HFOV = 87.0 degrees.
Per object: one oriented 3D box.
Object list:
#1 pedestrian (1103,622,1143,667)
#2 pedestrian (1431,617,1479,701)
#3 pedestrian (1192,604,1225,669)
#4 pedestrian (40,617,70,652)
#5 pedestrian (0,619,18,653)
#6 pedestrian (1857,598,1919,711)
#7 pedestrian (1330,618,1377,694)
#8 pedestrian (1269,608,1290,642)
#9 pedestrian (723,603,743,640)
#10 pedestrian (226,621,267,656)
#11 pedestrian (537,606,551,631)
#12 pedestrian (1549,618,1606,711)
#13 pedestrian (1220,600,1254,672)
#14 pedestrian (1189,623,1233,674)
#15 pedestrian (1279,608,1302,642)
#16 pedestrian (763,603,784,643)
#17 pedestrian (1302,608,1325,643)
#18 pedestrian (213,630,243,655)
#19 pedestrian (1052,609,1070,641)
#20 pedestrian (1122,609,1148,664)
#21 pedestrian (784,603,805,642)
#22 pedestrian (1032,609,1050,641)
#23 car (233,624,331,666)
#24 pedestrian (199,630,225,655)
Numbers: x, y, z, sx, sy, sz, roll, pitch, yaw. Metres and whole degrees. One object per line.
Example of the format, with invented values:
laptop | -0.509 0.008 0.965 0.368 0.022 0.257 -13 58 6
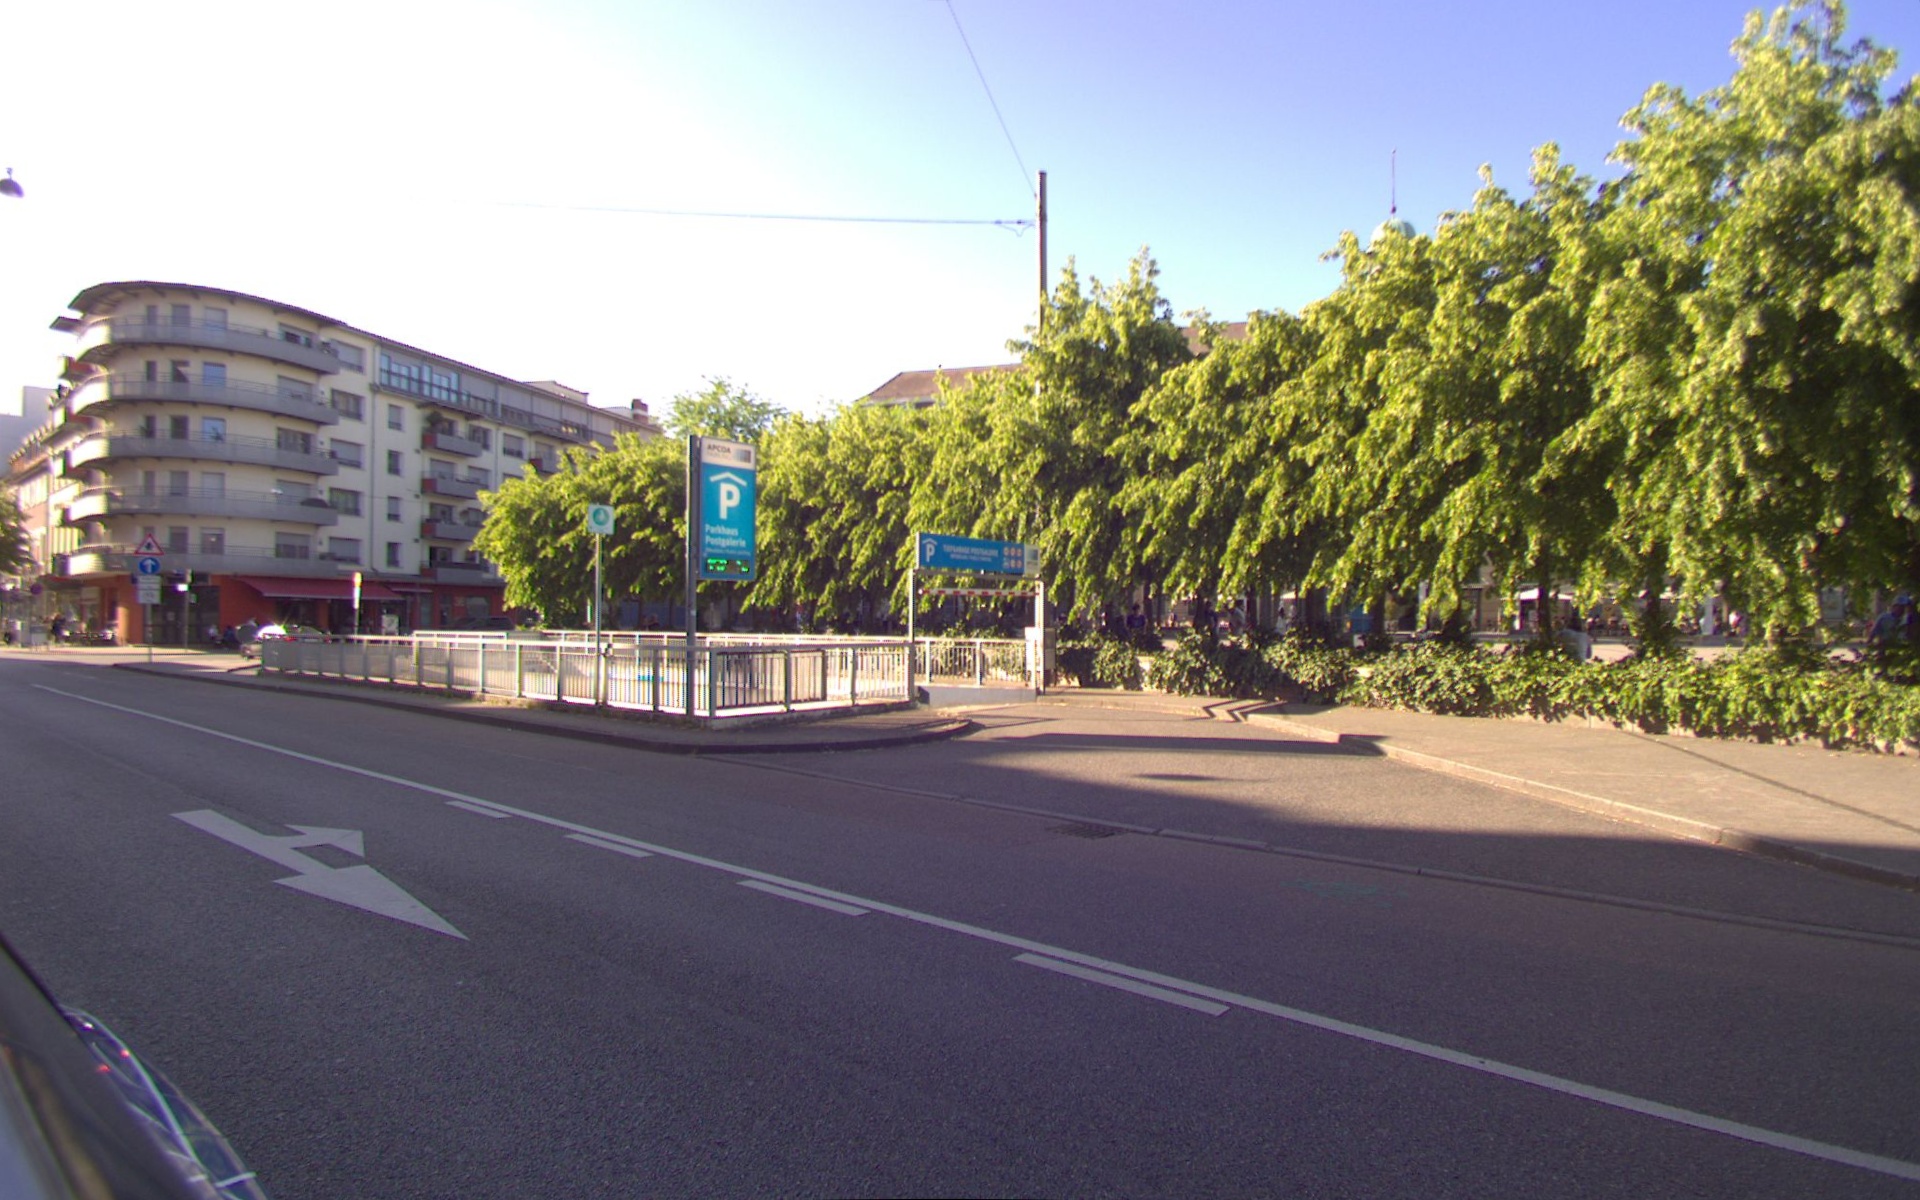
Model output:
pedestrian | 4.023 1.089 25.001 0.682 1.079 0.686 -1 0 -29
pedestrian | 8.753 1.024 17.901 0.621 1.447 0.645 -1 0 39
pedestrian | 5.896 0.849 24.038 0.688 1.511 0.680 -1 0 19
pedestrian | -46.750 1.792 52.286 0.962 1.762 1.047 -1 0 41
pedestrian | -50.313 1.901 53.192 1.081 1.732 1.054 -1 0 42
pedestrian | 13.110 0.746 14.159 0.691 1.532 0.677 -1 0 30
pedestrian | 7.526 1.059 19.348 0.622 1.409 0.644 -1 0 44
pedestrian | 14.638 1.127 46.407 0.673 1.535 0.695 -1 0 -7
pedestrian | -11.335 1.073 50.476 0.679 1.857 0.743 -1 0 19
pedestrian | -35.199 1.875 49.967 1.253 1.678 1.141 -1 0 -5
pedestrian | -31.233 1.395 75.992 0.684 1.857 0.737 -1 0 41
pedestrian | 9.810 1.011 16.092 0.611 1.447 0.588 -1 0 14
pedestrian | 6.291 0.802 23.013 0.518 1.594 0.684 -1 0 -3
pedestrian | 5.544 1.071 22.351 0.682 1.079 0.686 -1 0 -13
pedestrian | 14.897 1.124 45.651 0.672 1.542 0.696 -1 0 -18
pedestrian | -9.000 1.098 48.792 0.681 1.877 0.741 -1 0 27
pedestrian | 15.711 1.114 44.965 0.672 1.536 0.696 -1 0 -19
pedestrian | -36.815 2.124 50.900 0.827 1.207 0.931 -1 0 16
pedestrian | 4.476 1.103 44.819 0.684 1.385 0.684 -1 0 1
pedestrian | 4.483 0.930 25.902 0.545 1.385 0.680 -1 0 19
pedestrian | -8.127 1.096 49.692 0.681 1.857 0.741 -1 0 27
pedestrian | 3.581 1.115 44.856 0.752 1.385 0.684 -1 0 1
car | -27.989 1.850 41.759 4.235 1.542 1.659 0 -5 32
pedestrian | -37.636 2.135 50.944 0.882 1.207 0.772 -1 0 30
